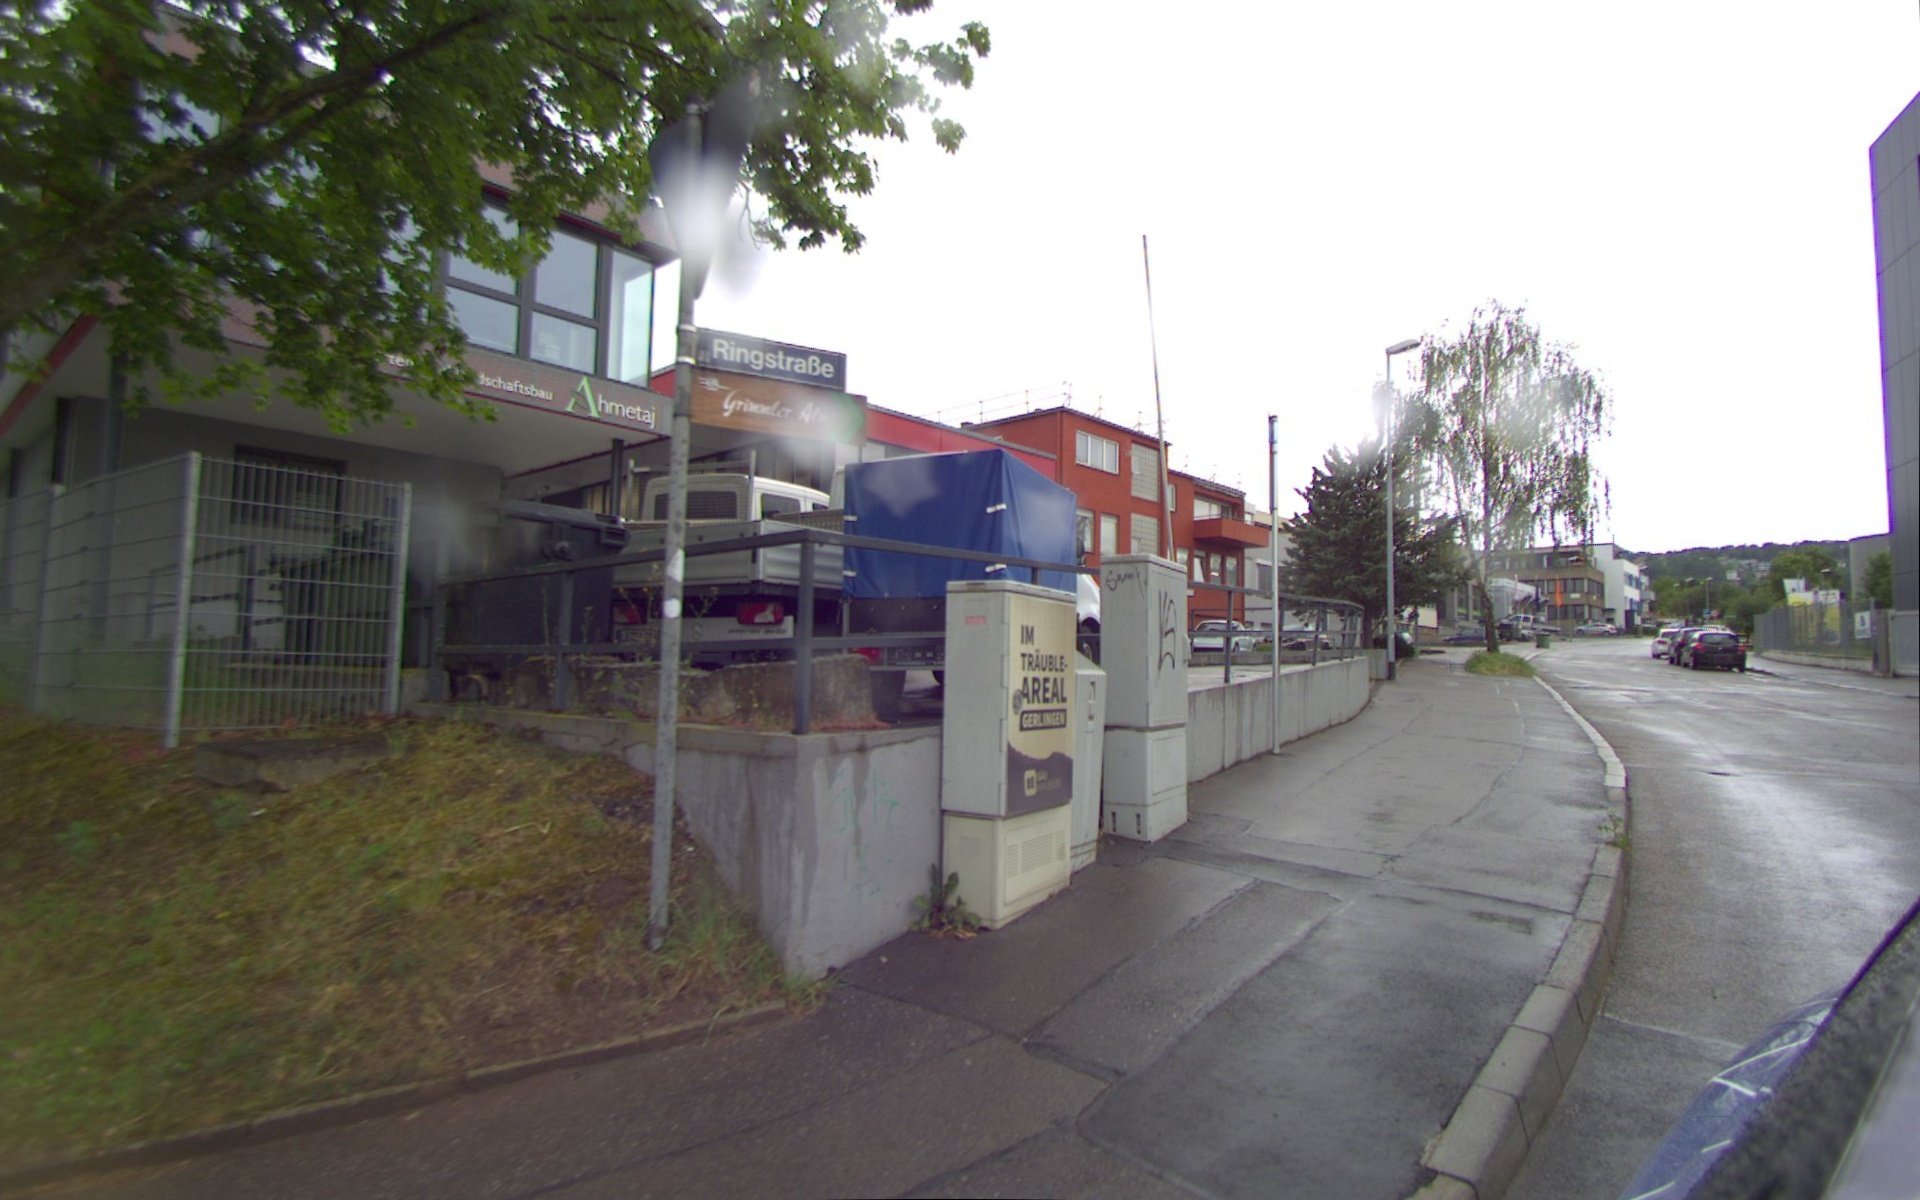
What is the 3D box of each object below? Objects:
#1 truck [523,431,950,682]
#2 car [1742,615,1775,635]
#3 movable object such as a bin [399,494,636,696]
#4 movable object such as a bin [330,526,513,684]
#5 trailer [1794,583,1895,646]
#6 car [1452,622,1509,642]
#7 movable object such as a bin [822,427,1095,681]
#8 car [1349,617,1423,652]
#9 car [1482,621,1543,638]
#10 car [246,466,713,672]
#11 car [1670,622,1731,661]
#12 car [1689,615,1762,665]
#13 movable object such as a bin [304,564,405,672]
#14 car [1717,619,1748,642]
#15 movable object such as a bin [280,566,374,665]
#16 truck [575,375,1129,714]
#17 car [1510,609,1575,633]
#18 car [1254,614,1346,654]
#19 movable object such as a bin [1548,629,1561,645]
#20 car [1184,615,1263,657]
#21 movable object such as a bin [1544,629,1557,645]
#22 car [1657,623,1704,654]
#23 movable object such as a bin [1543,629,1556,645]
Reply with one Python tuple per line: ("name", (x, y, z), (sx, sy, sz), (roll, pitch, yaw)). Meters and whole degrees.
("truck", (-2.402, -0.368, 12.159), (2.235, 2.372, 4.775), (-1, -1, 35))
("car", (82.290, 2.570, 104.278), (3.931, 2.040, 1.996), (2, -2, -42))
("movable object such as a bin", (-2.892, -0.017, 6.627), (1.136, 1.177, 1.012), (-1, -2, 39))
("movable object such as a bin", (-3.968, 0.043, 7.461), (1.048, 1.056, 0.871), (-1, -2, 41))
("trailer", (60.092, 1.012, 68.860), (2.340, 4.142, 4.706), (0, -1, -9))
("car", (41.006, 2.501, 79.772), (3.735, 1.560, 1.606), (-1, -2, 41))
("movable object such as a bin", (0.068, -0.258, 7.154), (1.297, 1.520, 1.842), (0, -1, 25))
("car", (24.512, 2.019, 58.340), (1.591, 1.520, 3.434), (2, -11, -44))
("car", (50.868, 2.663, 93.176), (4.609, 1.516, 1.911), (-1, -2, 43))
("car", (-5.682, -0.260, 12.611), (2.051, 2.039, 4.871), (-1, -2, 37))
("car", (31.867, 1.741, 43.640), (1.623, 1.578, 4.040), (0, -1, 30))
("car", (29.505, 1.486, 39.113), (1.730, 1.820, 3.915), (-1, -1, 30))
("movable object such as a bin", (-4.854, 0.142, 8.117), (0.563, 0.828, 0.532), (-1, -2, 39))
("car", (68.156, 2.670, 89.343), (1.988, 1.938, 3.947), (-1, -2, 36))
("movable object such as a bin", (-5.409, 0.133, 8.654), (0.520, 0.812, 0.532), (-1, -2, 39))
("truck", (-0.557, -0.319, 9.591), (2.098, 2.242, 5.580), (-1, -1, 35))
("car", (57.515, 2.056, 99.934), (2.166, 2.324, 5.140), (2, -2, -45))
("car", (14.795, 1.472, 43.911), (4.437, 1.600, 1.996), (1, -4, -45))
("movable object such as a bin", (42.424, 2.619, 72.249), (0.732, 1.104, 0.586), (-1, -2, 37))
("car", (10.289, 1.374, 39.332), (1.894, 1.489, 4.281), (0, -1, 31))
("movable object such as a bin", (41.559, 2.610, 71.187), (0.732, 1.104, 0.586), (-1, -2, 37))
("car", (37.867, 2.010, 53.257), (1.727, 1.556, 4.201), (-1, -2, 32))
("movable object such as a bin", (41.197, 2.597, 70.698), (0.732, 1.104, 0.586), (-1, -2, 37))
